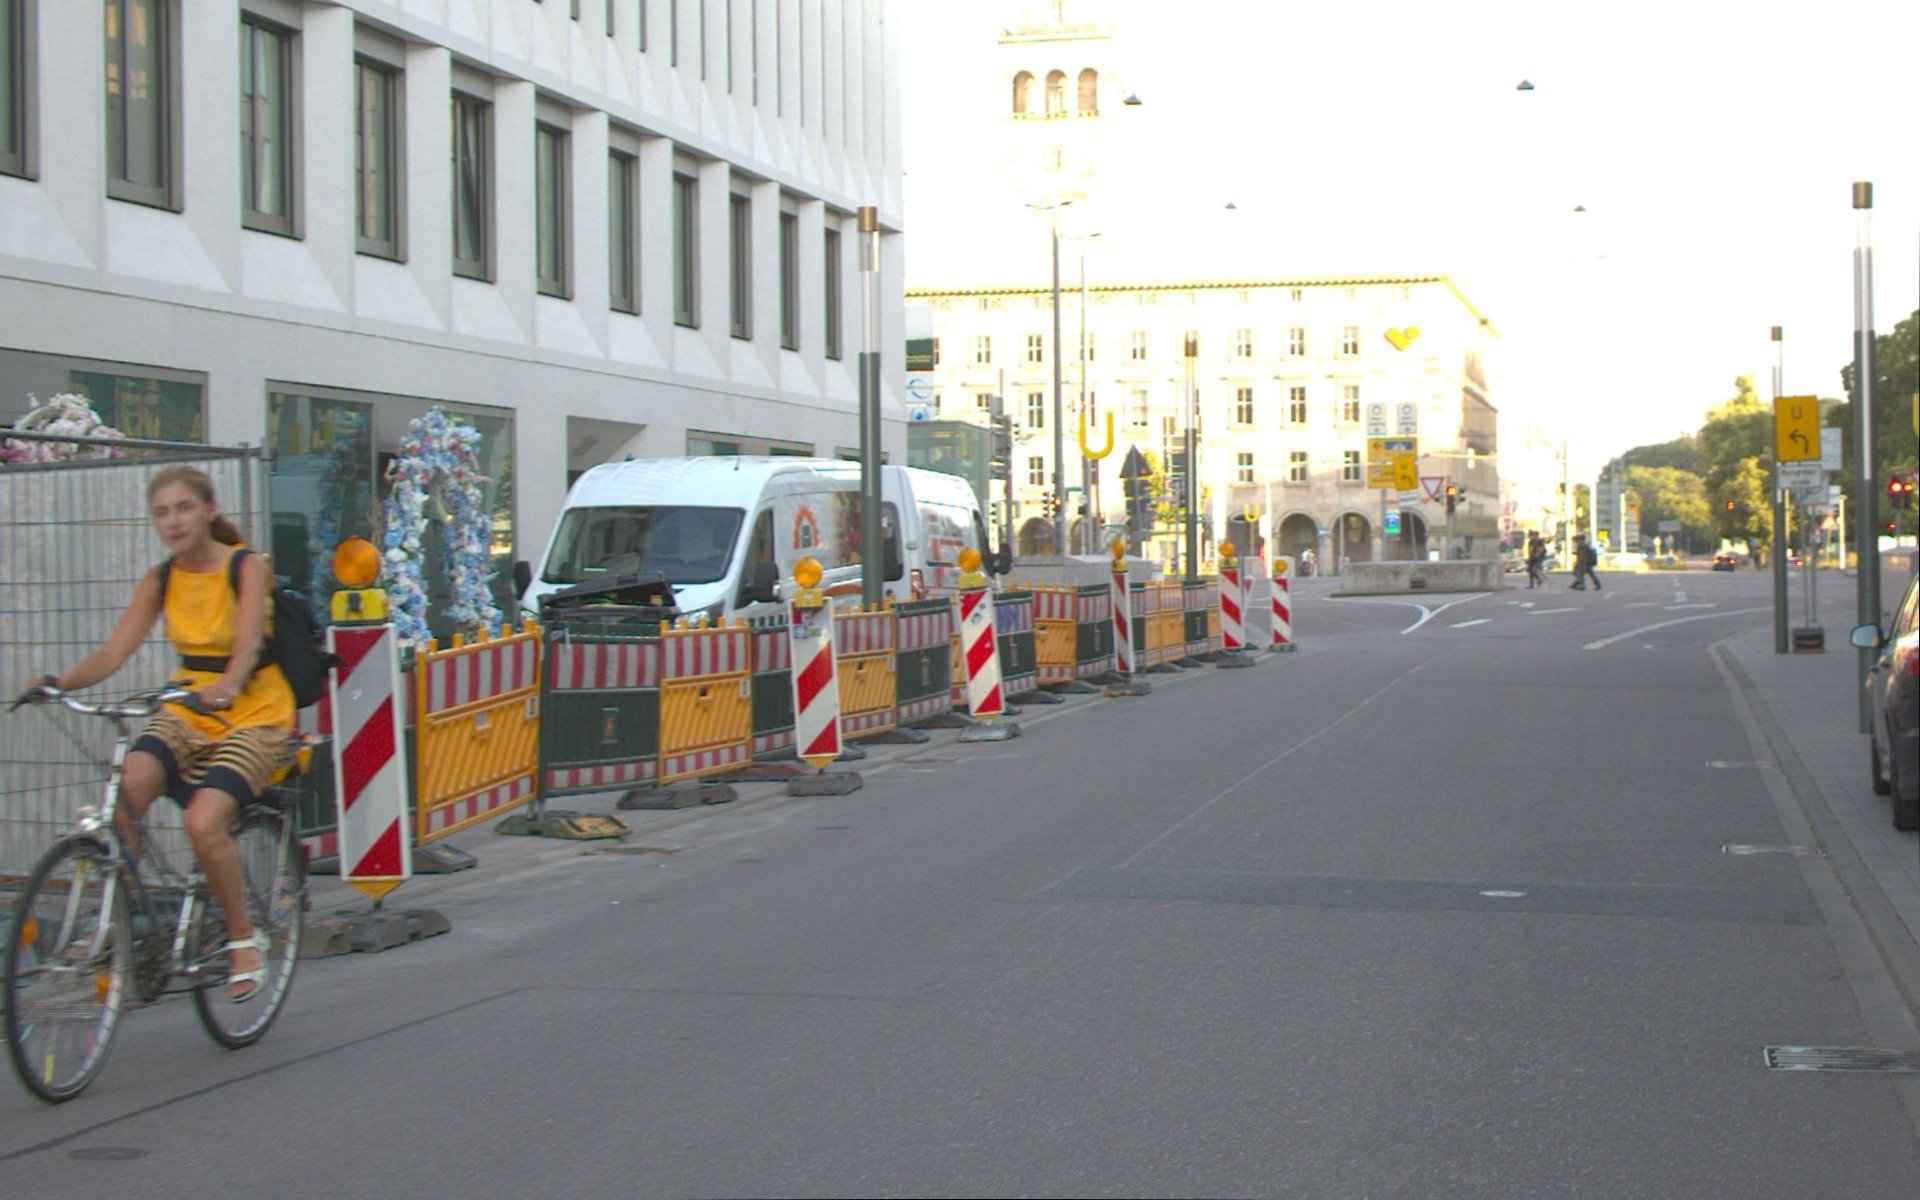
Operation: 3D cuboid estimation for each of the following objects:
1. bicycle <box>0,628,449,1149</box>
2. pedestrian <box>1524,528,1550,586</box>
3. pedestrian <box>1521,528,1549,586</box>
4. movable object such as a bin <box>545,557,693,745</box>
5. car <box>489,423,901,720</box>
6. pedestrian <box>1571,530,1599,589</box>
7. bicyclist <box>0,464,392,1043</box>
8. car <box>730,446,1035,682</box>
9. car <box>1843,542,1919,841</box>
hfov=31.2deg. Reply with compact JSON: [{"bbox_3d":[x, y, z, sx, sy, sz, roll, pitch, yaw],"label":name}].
[{"bbox_3d":[-2.148,0.718,9.569,0.796,1.213,2.232,0,1,9],"label":"bicycle"},{"bbox_3d":[18.180,-1.353,108.347,0.738,1.771,0.863,-3,0,10],"label":"pedestrian"},{"bbox_3d":[18.006,-1.354,107.650,0.738,1.771,0.863,-3,0,11],"label":"pedestrian"},{"bbox_3d":[-2.720,0.389,27.562,1.043,1.461,1.394,0,1,0],"label":"movable object such as a bin"},{"bbox_3d":[-2.275,-0.295,31.661,2.174,2.462,5.996,0,1,12],"label":"car"},{"bbox_3d":[19.148,-1.237,105.271,0.738,1.771,0.863,-3,0,11],"label":"pedestrian"},{"bbox_3d":[-2.128,0.397,9.589,0.796,1.527,0.974,0,1,9],"label":"bicyclist"},{"bbox_3d":[-0.759,-0.432,38.954,2.174,2.462,5.996,0,1,12],"label":"car"},{"bbox_3d":[6.017,0.390,19.277,1.796,1.485,4.191,-4,0,12],"label":"car"}]
